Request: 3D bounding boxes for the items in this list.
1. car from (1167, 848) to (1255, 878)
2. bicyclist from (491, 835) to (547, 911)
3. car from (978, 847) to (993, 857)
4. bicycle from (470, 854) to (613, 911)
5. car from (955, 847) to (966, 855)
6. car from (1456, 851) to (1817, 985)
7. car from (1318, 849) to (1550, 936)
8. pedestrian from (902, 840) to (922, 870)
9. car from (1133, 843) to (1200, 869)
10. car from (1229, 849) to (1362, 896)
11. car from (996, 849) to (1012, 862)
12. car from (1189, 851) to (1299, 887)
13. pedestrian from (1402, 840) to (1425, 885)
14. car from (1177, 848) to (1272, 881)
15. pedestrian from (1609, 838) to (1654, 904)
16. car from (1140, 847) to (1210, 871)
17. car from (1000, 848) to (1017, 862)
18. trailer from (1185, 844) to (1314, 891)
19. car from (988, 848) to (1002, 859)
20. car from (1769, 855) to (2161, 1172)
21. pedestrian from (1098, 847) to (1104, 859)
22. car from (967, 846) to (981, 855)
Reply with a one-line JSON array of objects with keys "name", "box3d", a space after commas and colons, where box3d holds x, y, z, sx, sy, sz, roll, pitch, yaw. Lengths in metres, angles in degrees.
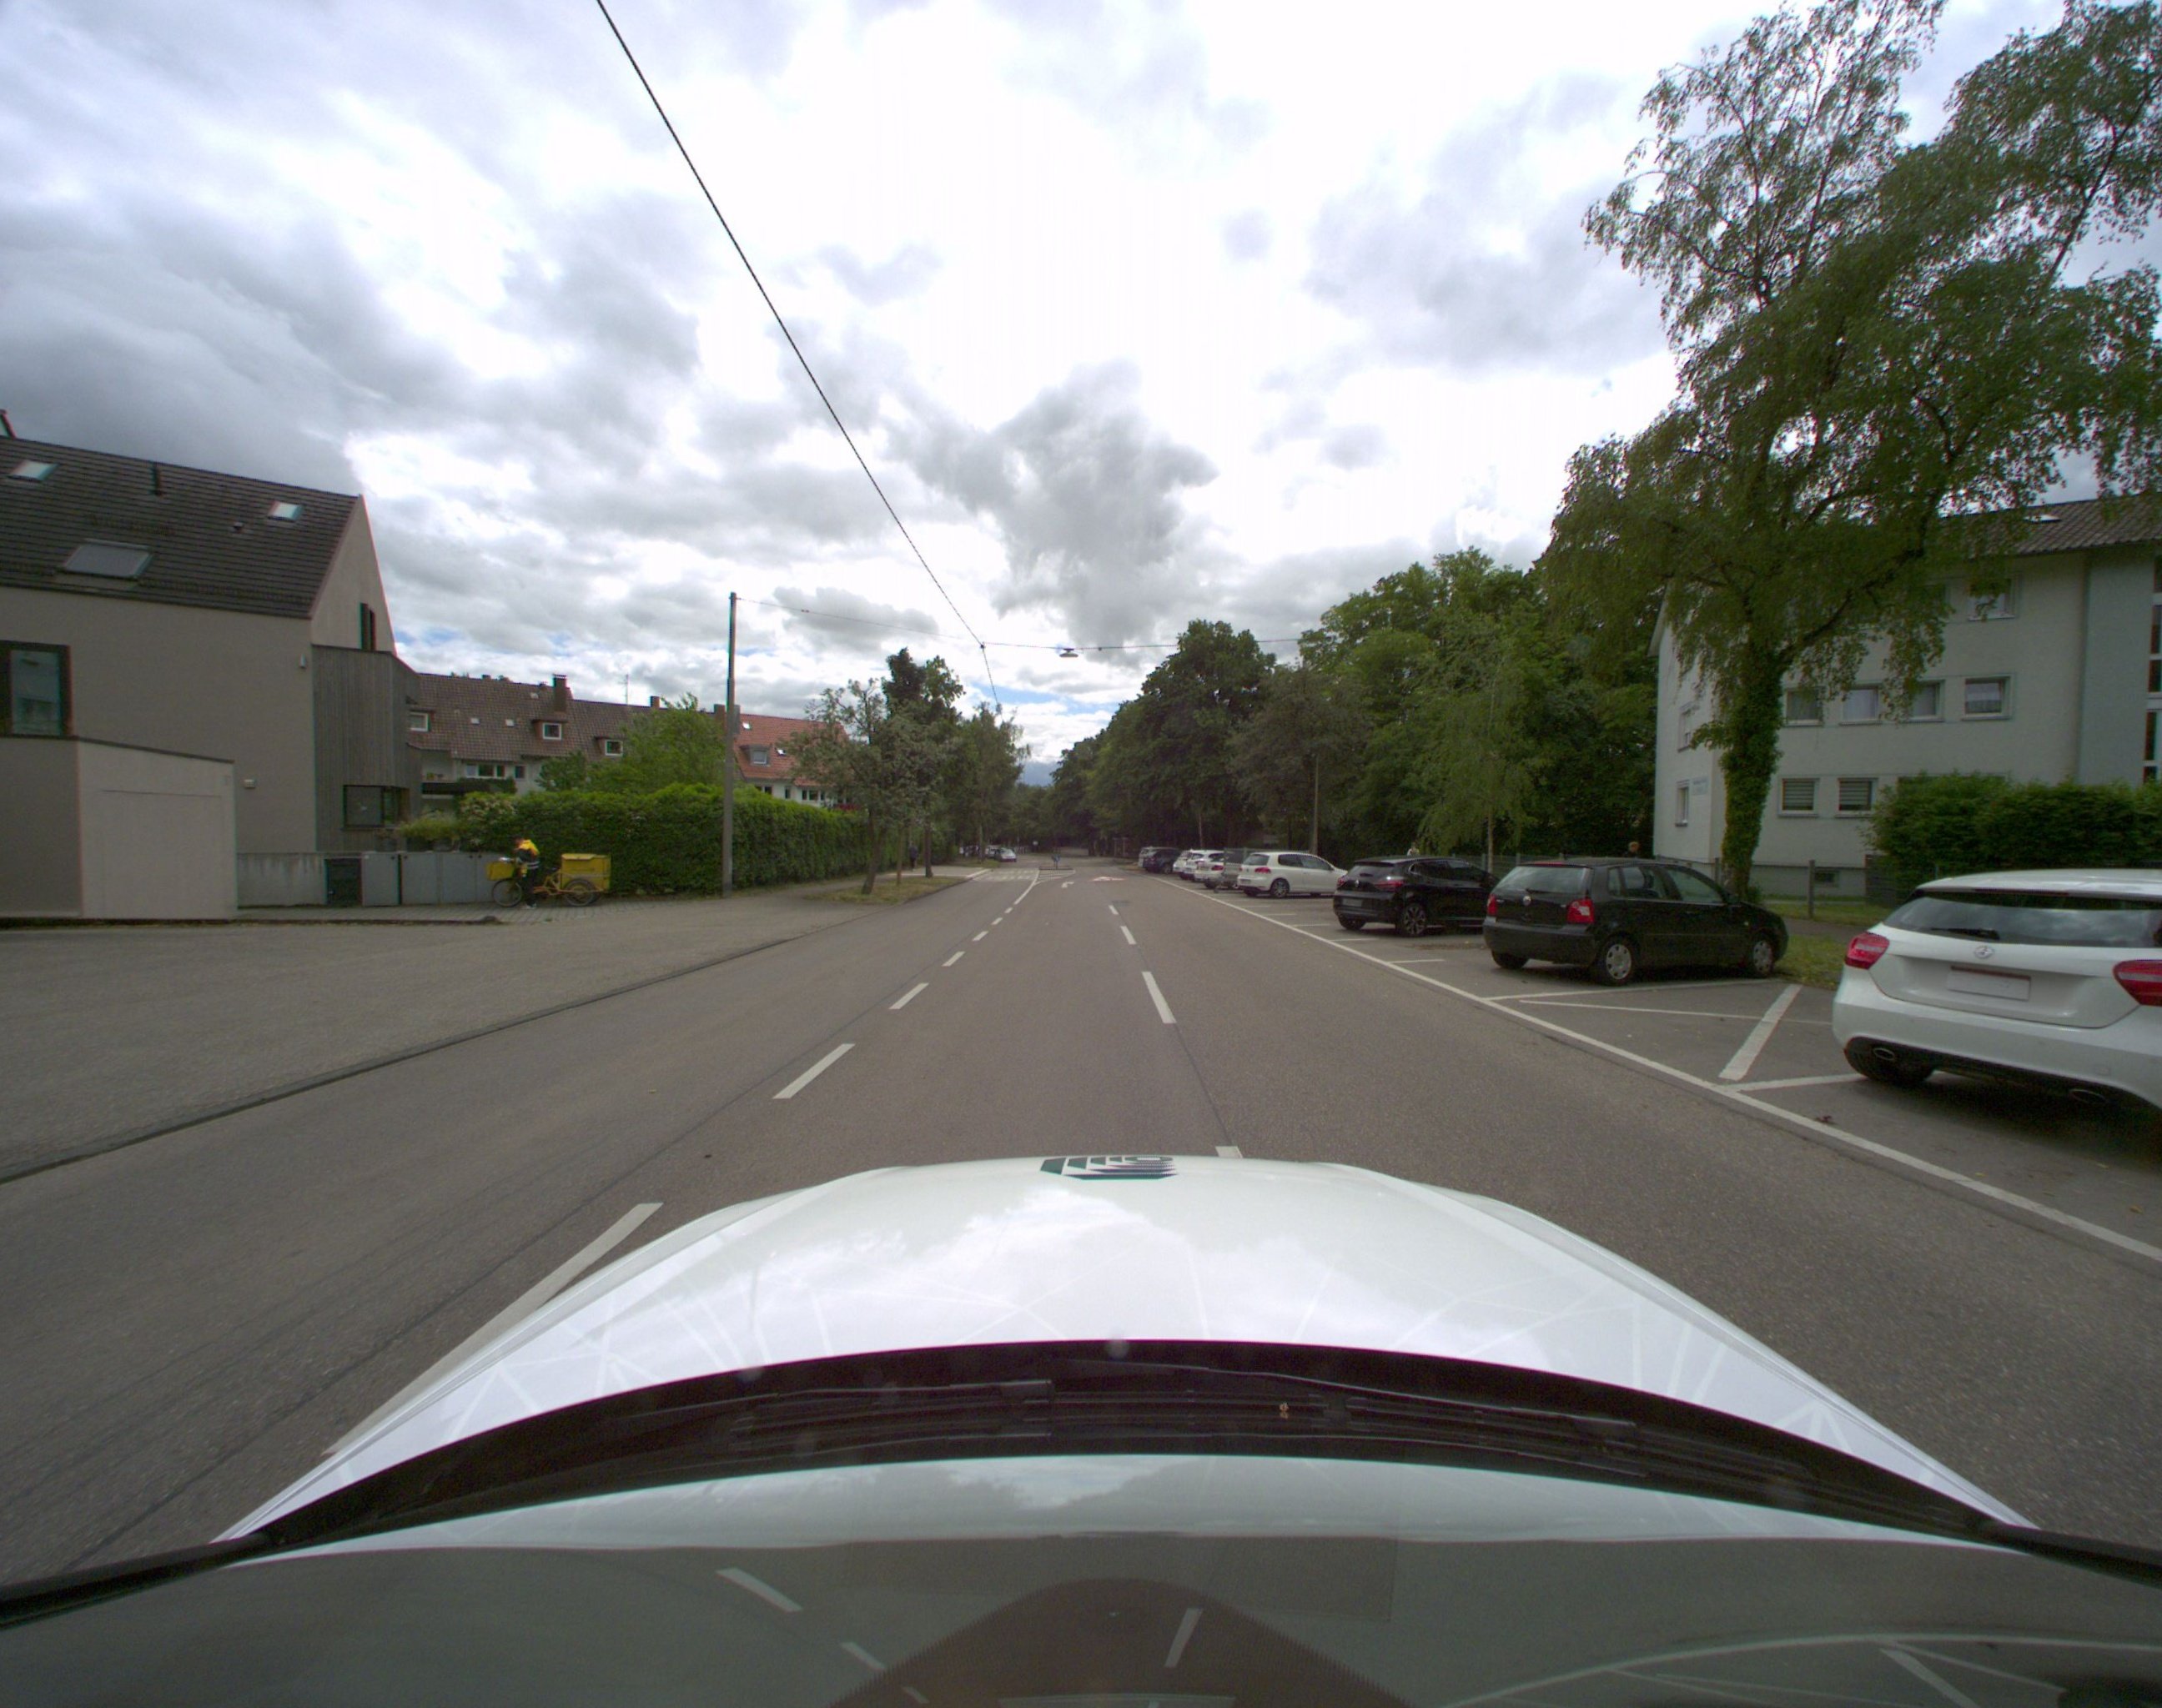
[{"name": "car", "box3d": [6.331, 0.444, 39.794, 3.895, 1.429, 1.733, 1, 0, -18]}, {"name": "bicyclist", "box3d": [-12.930, 0.417, 18.755, 0.709, 1.697, 0.847, 1, 1, -1]}, {"name": "car", "box3d": [-14.115, -0.369, 120.396, 1.868, 1.471, 3.985, 0, 1, -11]}, {"name": "bicycle", "box3d": [-12.607, 0.650, 19.148, 2.651, 1.266, 0.842, 0, 1, -19]}, {"name": "car", "box3d": [-21.612, -0.543, 145.823, 1.868, 1.471, 3.985, 0, 1, -11]}, {"name": "car", "box3d": [7.052, 0.731, 10.415, 3.895, 1.449, 1.833, 1, 0, -19]}, {"name": "car", "box3d": [6.669, 0.666, 15.411, 3.900, 1.449, 1.831, 1, 0, -22]}, {"name": "pedestrian", "box3d": [-9.899, 0.038, 47.737, 0.972, 1.730, 0.848, 0, 0, -3]}, {"name": "car", "box3d": [5.520, 0.128, 52.599, 3.895, 1.668, 1.733, 1, 0, -18]}, {"name": "car", "box3d": [6.983, 0.585, 26.551, 3.897, 1.449, 1.732, 1, 0, -20]}, {"name": "car", "box3d": [-9.183, 0.139, 97.637, 1.864, 1.471, 3.993, 0, 1, -5]}, {"name": "car", "box3d": [6.286, 0.570, 31.429, 3.901, 1.309, 1.730, 1, 0, -23]}, {"name": "pedestrian", "box3d": [12.508, 0.302, 30.651, 0.646, 1.671, 0.745, 0, 0, 7]}, {"name": "car", "box3d": [6.546, 0.488, 37.213, 3.895, 1.429, 1.733, 1, 0, -18]}, {"name": "pedestrian", "box3d": [13.583, 0.414, 20.106, 0.646, 1.603, 0.745, 0, 0, 7]}, {"name": "car", "box3d": [5.738, 0.302, 49.807, 3.895, 1.429, 1.733, 1, 0, -18]}, {"name": "car", "box3d": [-8.154, 0.108, 92.055, 1.864, 1.471, 3.993, 0, 1, -5]}, {"name": "trailer", "box3d": [5.949, 0.480, 28.745, 4.165, 1.573, 1.702, 1, 0, -18]}, {"name": "car", "box3d": [-11.530, -0.055, 109.499, 1.864, 1.471, 3.993, 0, 1, -5]}, {"name": "car", "box3d": [6.778, 0.784, 5.026, 3.972, 1.449, 1.909, 1, 0, -14]}, {"name": "pedestrian", "box3d": [2.652, -0.125, 107.536, 0.736, 1.570, 0.654, 0, 0, 12]}, {"name": "car", "box3d": [-17.120, -0.566, 130.071, 1.868, 1.471, 3.985, 0, 1, -11]}]
